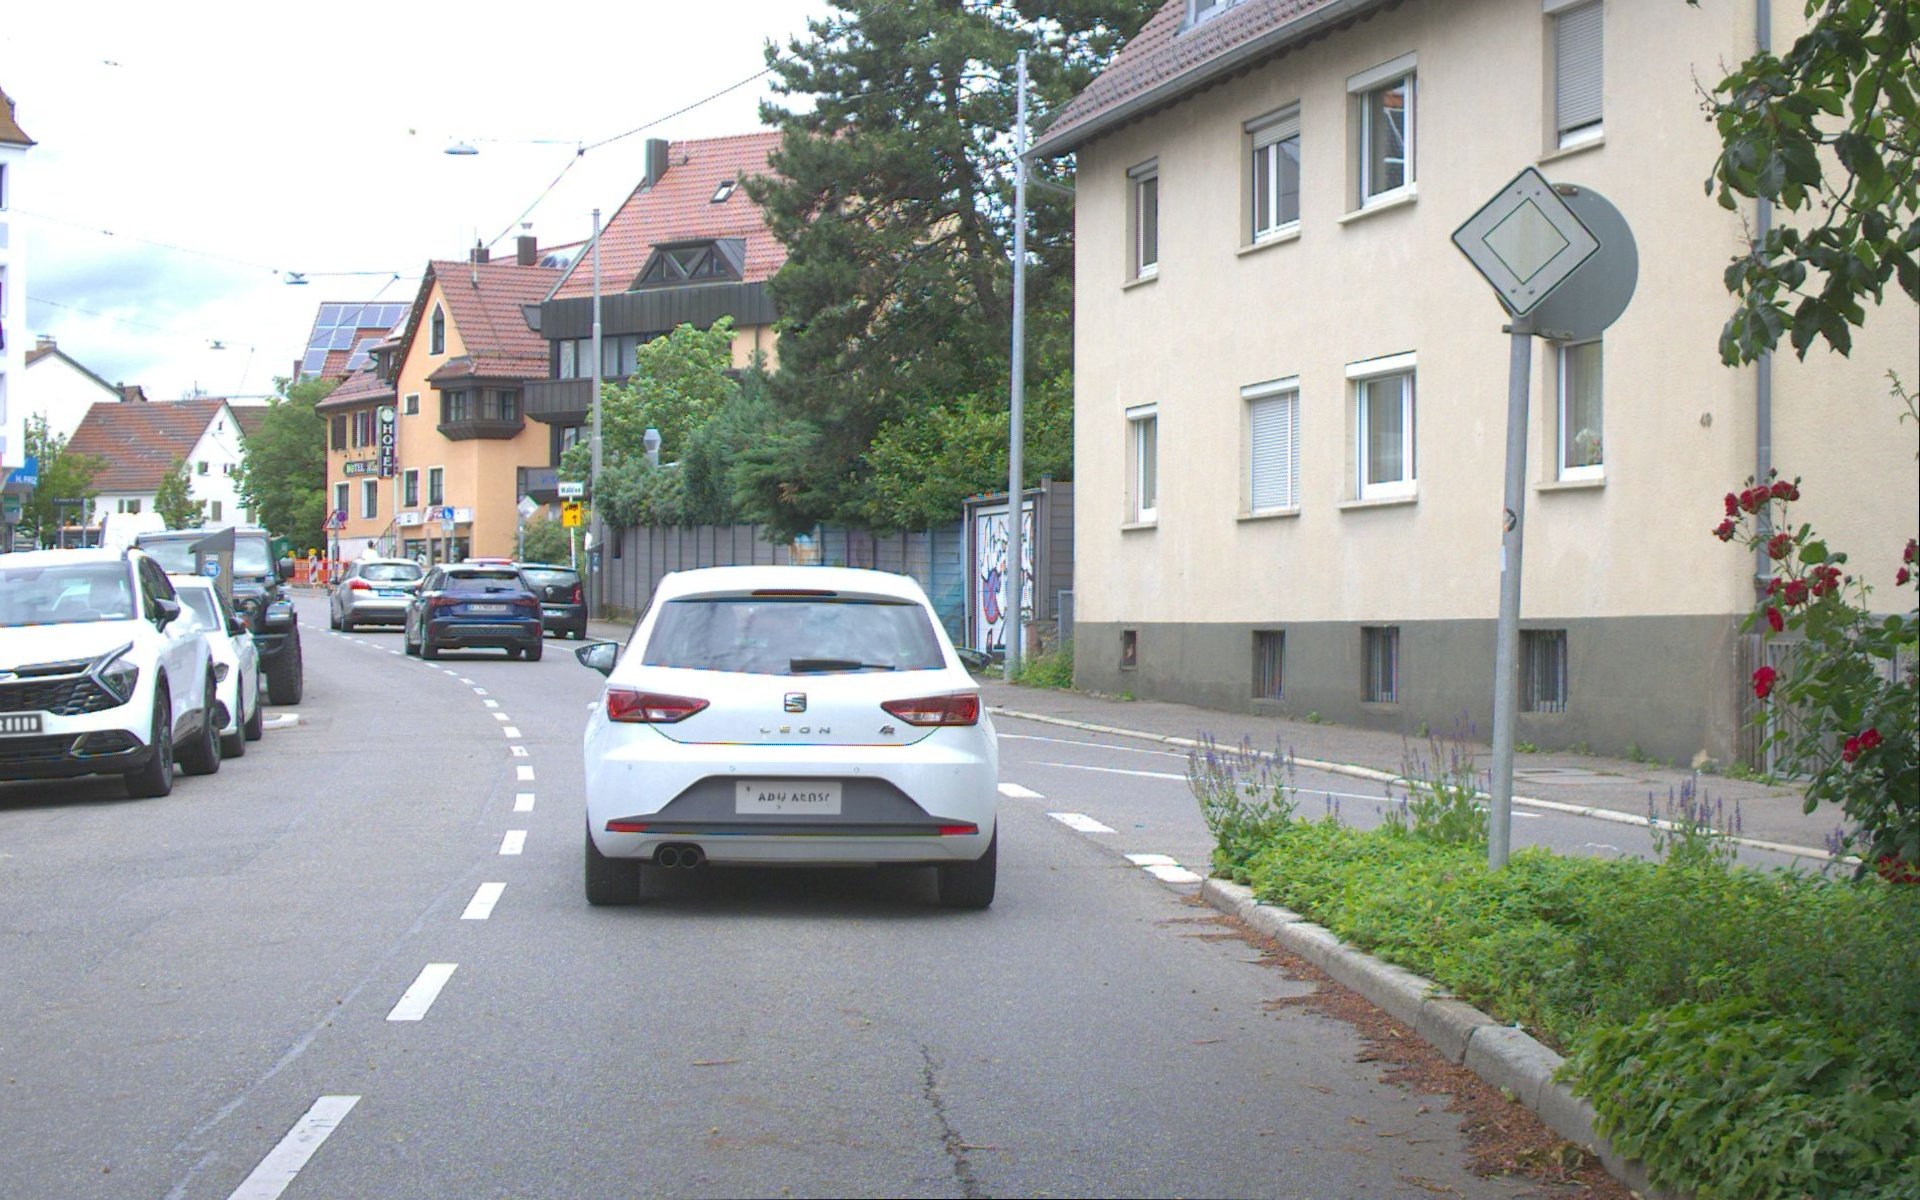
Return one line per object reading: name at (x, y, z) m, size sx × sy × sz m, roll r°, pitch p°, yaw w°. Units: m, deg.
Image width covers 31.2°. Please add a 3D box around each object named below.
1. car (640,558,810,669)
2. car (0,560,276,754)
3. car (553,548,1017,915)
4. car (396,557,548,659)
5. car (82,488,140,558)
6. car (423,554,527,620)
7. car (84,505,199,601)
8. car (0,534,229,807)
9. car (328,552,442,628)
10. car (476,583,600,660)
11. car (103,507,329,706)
car at (-3.403, 0.162, 49.139) m, size 1.758 × 1.447 × 4.001 m, roll 3°, pitch 0°, yaw -13°
car at (-6.747, 0.417, 28.180) m, size 1.997 × 1.431 × 3.919 m, roll 1°, pitch 1°, yaw -8°
car at (-0.923, 0.508, 15.653) m, size 1.758 × 1.447 × 4.001 m, roll 1°, pitch 0°, yaw -8°
car at (-7.332, 0.101, 51.393) m, size 1.758 × 1.447 × 4.001 m, roll 1°, pitch 1°, yaw -15°
car at (-33.919, -3.061, 137.381) m, size 2.151 × 2.678 × 5.396 m, roll 2°, pitch 1°, yaw -14°
car at (-11.198, -0.316, 79.170) m, size 1.758 × 1.447 × 4.001 m, roll 1°, pitch 1°, yaw -17°
car at (-24.142, -1.388, 101.633) m, size 2.152 × 2.677 × 5.545 m, roll 2°, pitch 1°, yaw -2°
car at (-6.206, 0.378, 23.113) m, size 1.997 × 1.627 × 4.859 m, roll 1°, pitch 1°, yaw -6°
car at (-11.365, -0.213, 67.740) m, size 1.758 × 1.447 × 4.001 m, roll 1°, pitch 1°, yaw -16°
car at (-8.385, 0.410, 68.039) m, size 1.758 × 1.447 × 4.001 m, roll 1°, pitch 1°, yaw -17°
car at (-8.181, 0.016, 38.192) m, size 1.993 × 2.007 × 4.671 m, roll -2°, pitch 1°, yaw -7°
